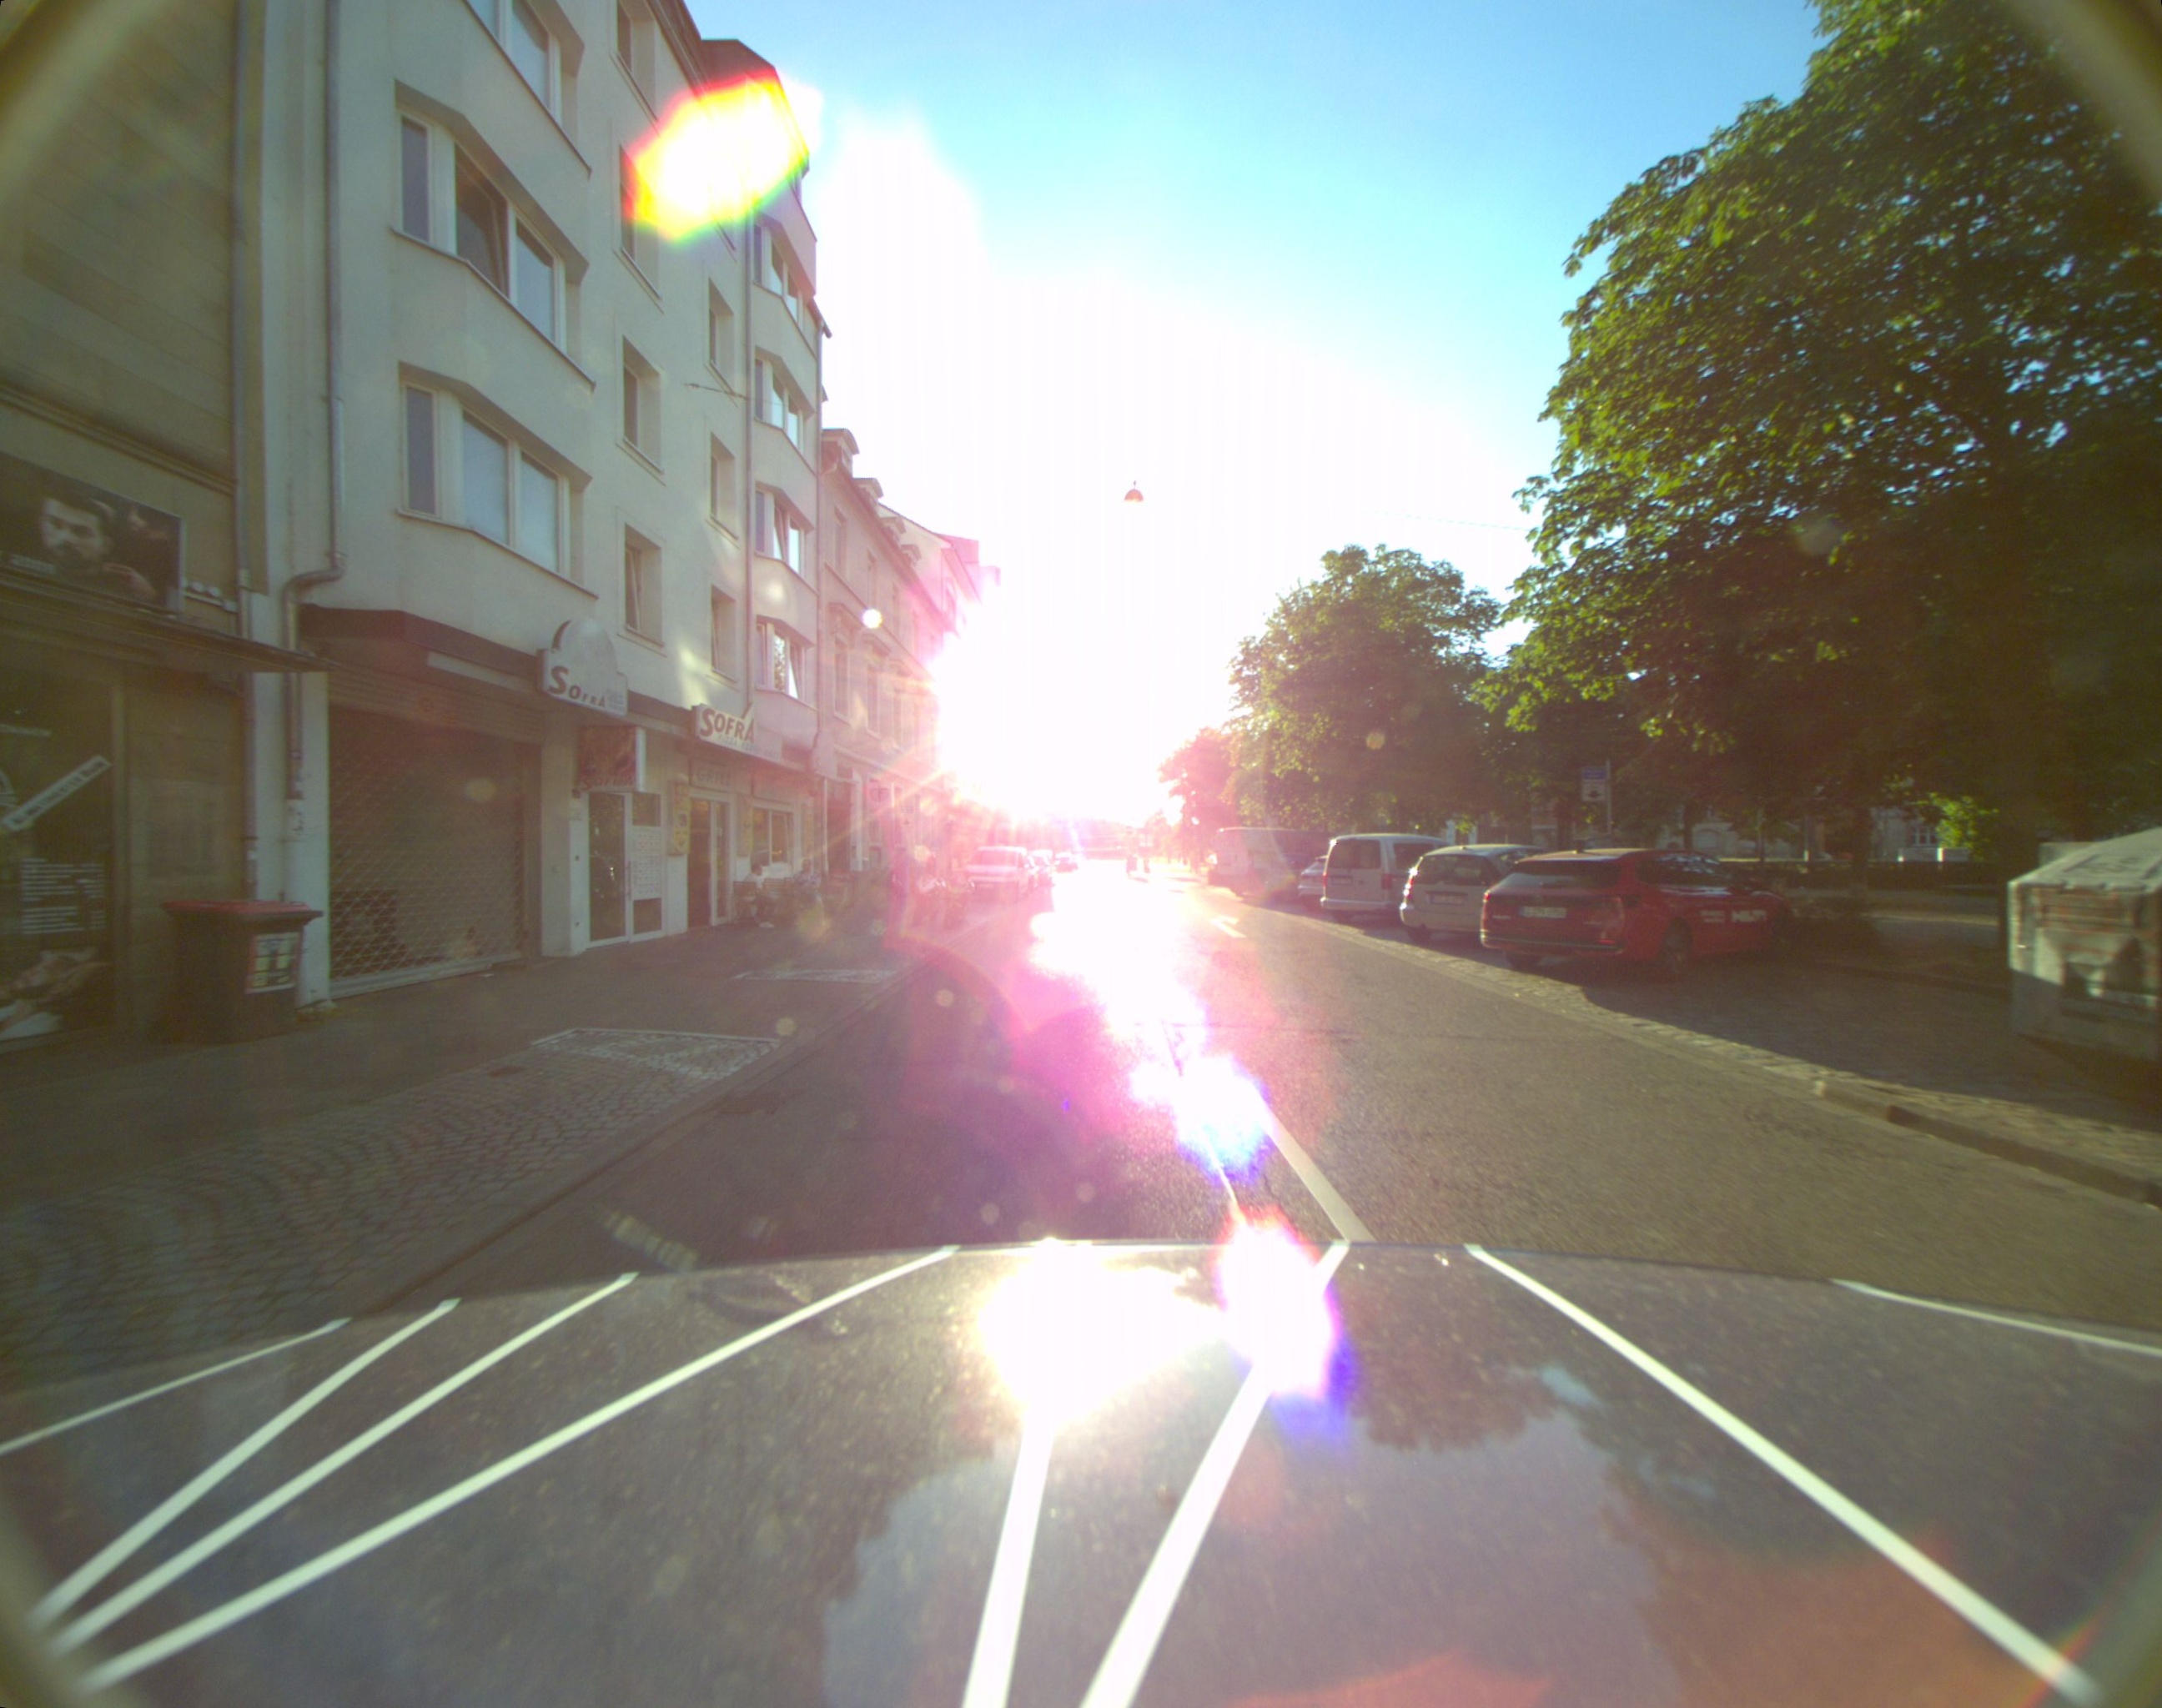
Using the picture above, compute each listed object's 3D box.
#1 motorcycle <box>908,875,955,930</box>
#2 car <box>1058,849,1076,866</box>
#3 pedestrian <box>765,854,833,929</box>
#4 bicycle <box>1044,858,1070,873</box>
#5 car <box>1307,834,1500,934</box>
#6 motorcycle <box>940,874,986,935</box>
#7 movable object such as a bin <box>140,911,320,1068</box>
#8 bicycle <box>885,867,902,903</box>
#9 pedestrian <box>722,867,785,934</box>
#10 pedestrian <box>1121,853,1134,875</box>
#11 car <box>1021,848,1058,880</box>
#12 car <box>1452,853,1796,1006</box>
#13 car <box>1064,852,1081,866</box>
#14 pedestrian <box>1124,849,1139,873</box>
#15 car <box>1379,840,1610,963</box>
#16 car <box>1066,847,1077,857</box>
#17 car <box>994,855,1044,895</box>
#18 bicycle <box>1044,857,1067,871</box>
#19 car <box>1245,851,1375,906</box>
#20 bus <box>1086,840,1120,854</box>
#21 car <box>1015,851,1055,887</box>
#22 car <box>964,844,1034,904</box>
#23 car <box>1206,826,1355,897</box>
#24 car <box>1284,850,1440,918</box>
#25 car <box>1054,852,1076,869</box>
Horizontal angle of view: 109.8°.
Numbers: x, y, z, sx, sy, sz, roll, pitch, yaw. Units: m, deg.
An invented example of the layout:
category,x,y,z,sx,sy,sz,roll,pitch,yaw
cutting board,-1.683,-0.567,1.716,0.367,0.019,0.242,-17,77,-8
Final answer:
category,x,y,z,sx,sy,sz,roll,pitch,yaw
motorcycle,-3.388,1.075,17.385,0.589,1.116,2.210,-1,0,1
car,-1.484,0.364,80.674,1.788,1.794,4.401,-1,0,0
pedestrian,-5.747,0.743,15.550,0.957,1.478,0.992,-1,0,1
bicycle,-1.747,0.839,55.430,1.789,0.984,0.543,2,-1,24
car,6.900,0.548,16.140,4.007,1.867,1.866,-1,0,-34
motorcycle,-2.583,1.074,16.785,0.589,1.193,2.210,2,0,1
movable object such as a bin,-6.478,1.006,5.815,0.597,1.078,0.664,-1,0,2
bicycle,-5.837,0.937,23.692,0.456,1.006,1.710,-1,1,-13
pedestrian,-6.300,0.881,14.609,0.741,1.212,0.792,2,0,31
pedestrian,3.018,0.654,49.253,0.612,1.356,0.565,-1,0,32
car,-2.380,0.555,44.229,1.797,1.781,4.092,0,1,2
car,6.769,0.752,9.433,4.006,1.477,1.995,-1,1,-30
car,-0.960,0.526,86.130,1.645,1.519,4.000,-1,0,2
pedestrian,3.322,0.474,50.191,0.693,1.550,0.701,-1,0,33
car,7.027,0.670,12.791,4.007,1.686,1.745,-2,1,-34
car,-1.468,-0.270,122.605,1.654,1.525,4.066,-1,0,0
car,-2.574,0.846,32.313,1.671,1.535,3.883,-1,0,1
bicycle,-2.005,0.801,59.713,1.792,0.984,0.542,3,-1,-1
car,7.016,0.690,23.128,4.008,1.459,1.878,-1,0,-40
bus,5.730,-1.763,201.898,3.764,3.343,13.689,-1,0,-22
car,-2.297,0.722,38.613,1.661,1.655,4.108,-1,0,1
car,-2.720,0.637,25.996,1.714,1.824,4.306,-1,0,2
car,6.942,0.197,26.429,4.619,2.238,2.198,-2,1,-25
car,7.268,0.693,19.537,4.007,1.483,1.845,-2,1,-37
car,-1.508,0.585,72.455,1.794,1.499,3.921,-1,0,2
